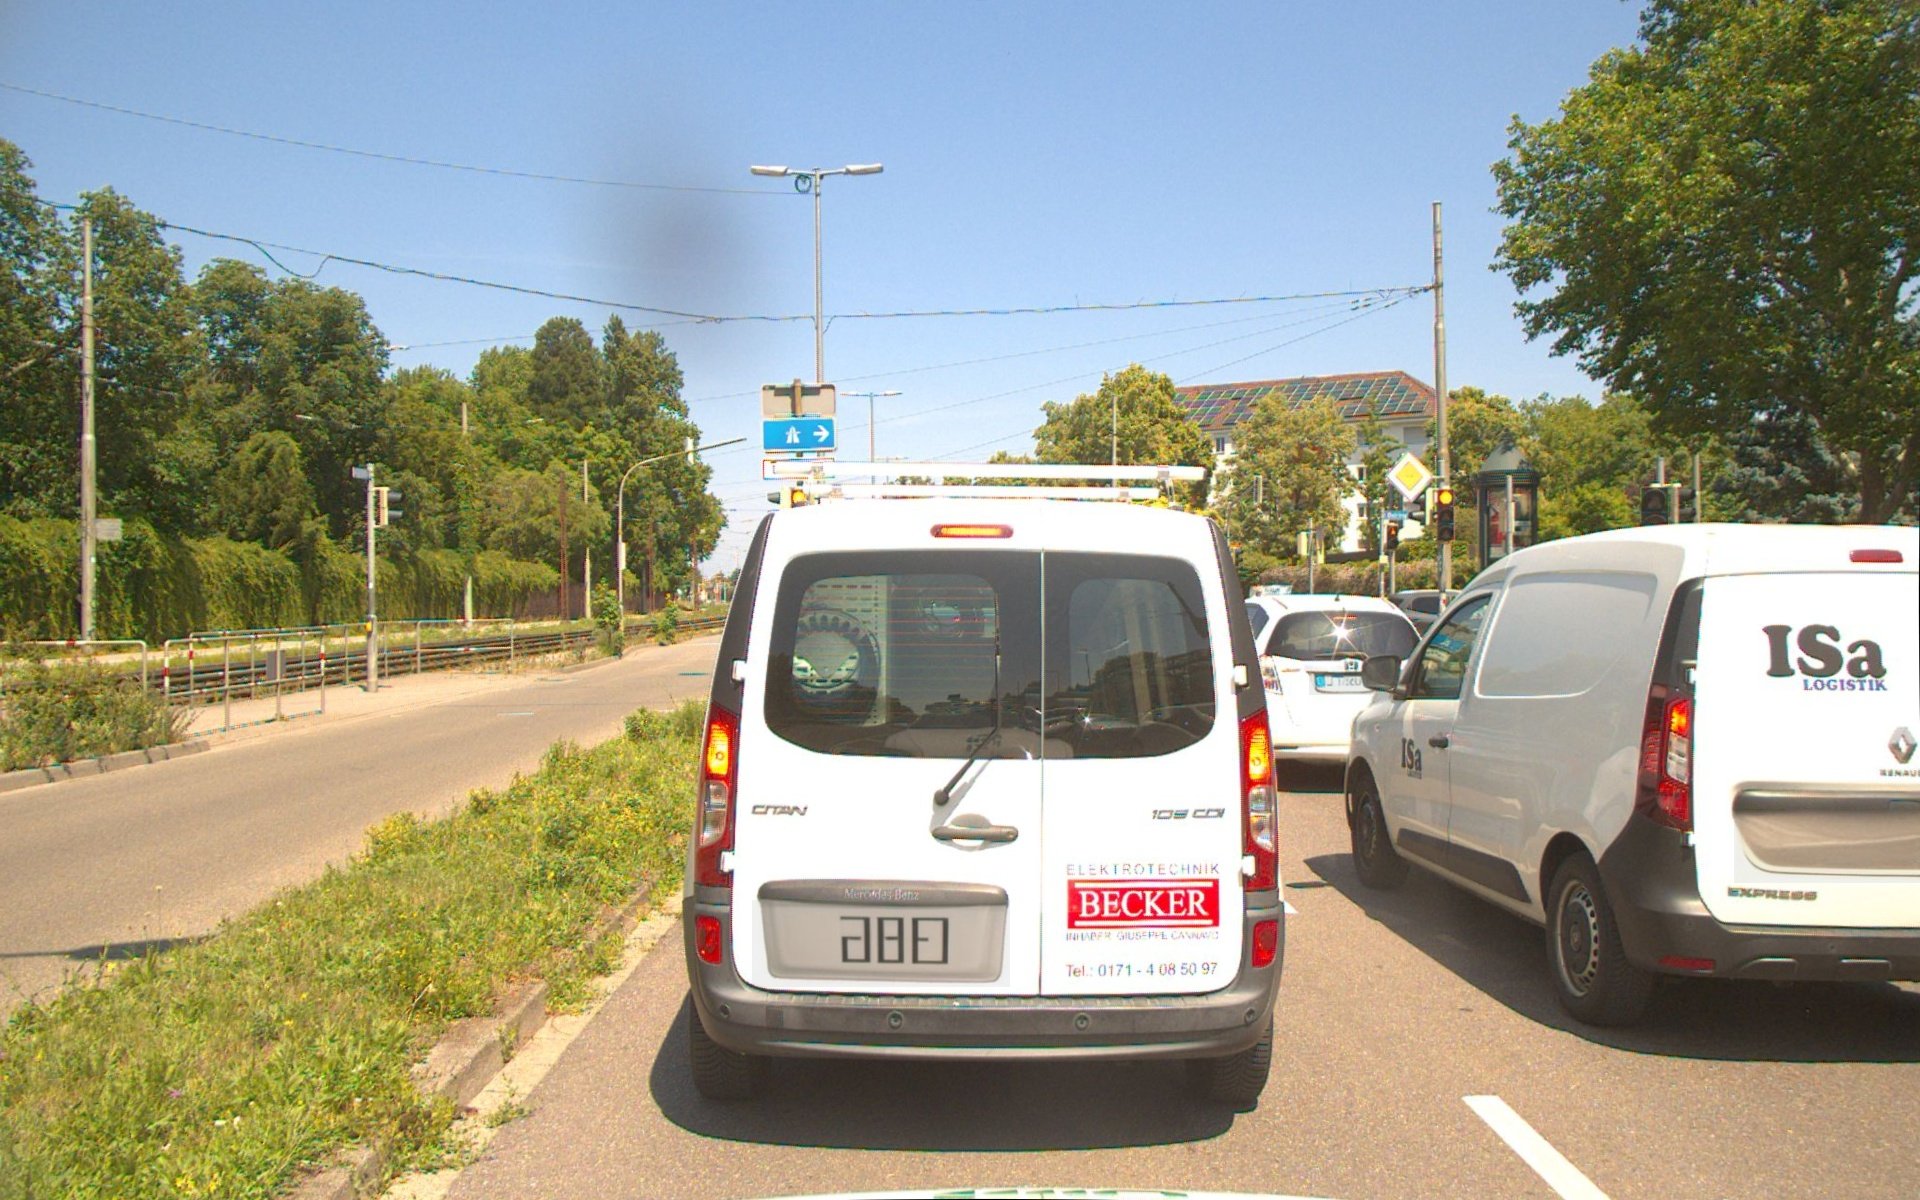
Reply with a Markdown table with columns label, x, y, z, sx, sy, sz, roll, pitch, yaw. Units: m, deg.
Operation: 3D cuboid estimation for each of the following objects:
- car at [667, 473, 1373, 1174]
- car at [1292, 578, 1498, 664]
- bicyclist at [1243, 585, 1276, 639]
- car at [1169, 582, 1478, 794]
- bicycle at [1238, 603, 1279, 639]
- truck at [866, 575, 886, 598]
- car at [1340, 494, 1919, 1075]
| label | x | y | z | sx | sy | sz | roll | pitch | yaw |
| --- | --- | --- | --- | --- | --- | --- | --- | --- | --- |
| car | 0.128 | 0.578 | 6.419 | 1.784 | 1.770 | 4.395 | 1 | 0 | -1 |
| car | 8.736 | 0.395 | 33.437 | 3.902 | 1.625 | 1.701 | 1 | 1 | 12 |
| bicyclist | 10.051 | 0.402 | 55.524 | 0.954 | 1.819 | 0.725 | 0 | 0 | -6 |
| car | 3.045 | 0.658 | 14.696 | 1.798 | 1.596 | 3.999 | 1 | 1 | -1 |
| bicycle | 10.013 | 0.696 | 55.548 | 0.875 | 1.179 | 1.954 | 0 | 0 | -5 |
| truck | -9.791 | -1.558 | 193.068 | 2.095 | 2.633 | 5.888 | 1 | 0 | -1 |
| car | 3.048 | 0.591 | 7.260 | 1.693 | 1.819 | 4.063 | 1 | 0 | -2 |
